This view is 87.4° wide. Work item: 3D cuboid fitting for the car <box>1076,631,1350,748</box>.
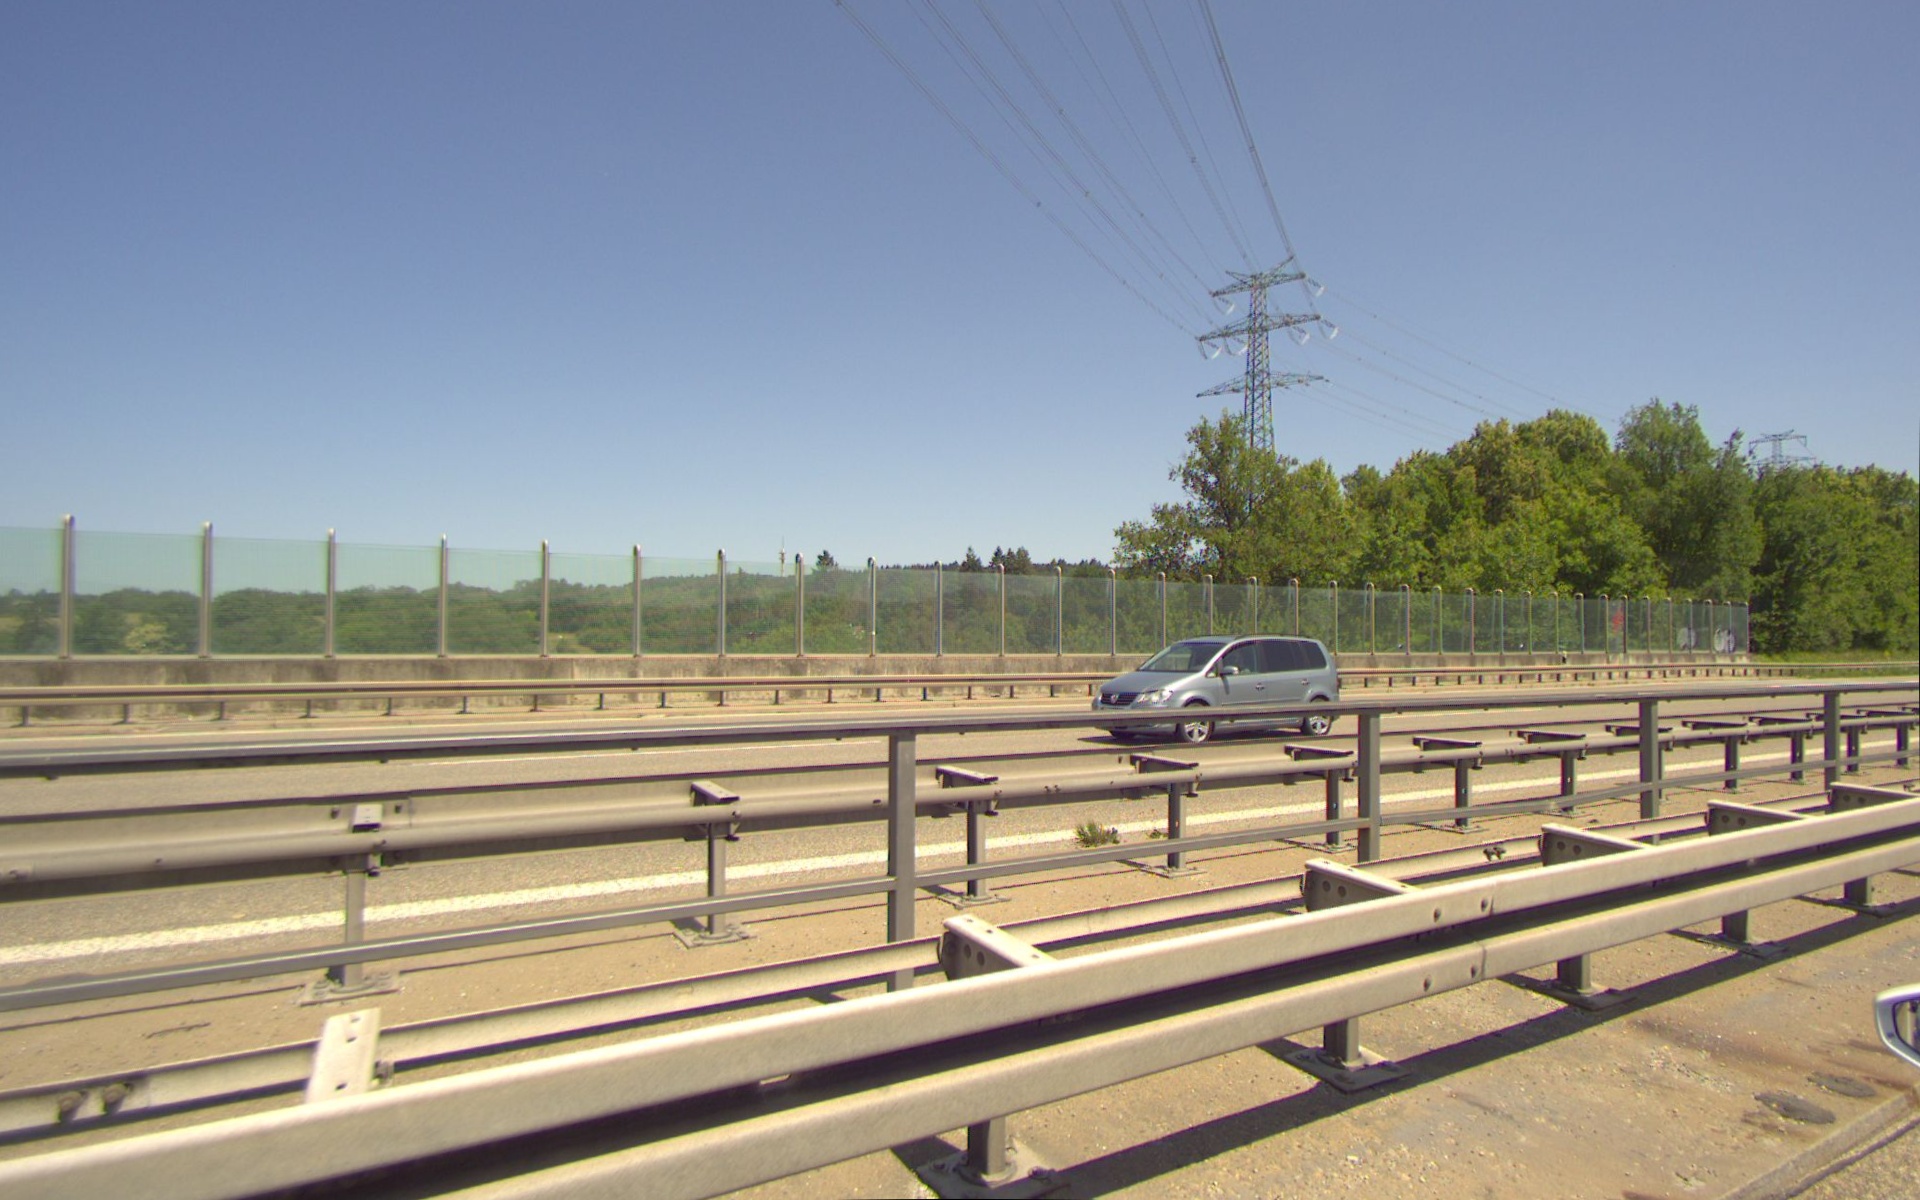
[{"bbox_3d":[4.028,1.345,15.852,4.120,1.630,1.821,2,-3,-31],"label":"car"}]
